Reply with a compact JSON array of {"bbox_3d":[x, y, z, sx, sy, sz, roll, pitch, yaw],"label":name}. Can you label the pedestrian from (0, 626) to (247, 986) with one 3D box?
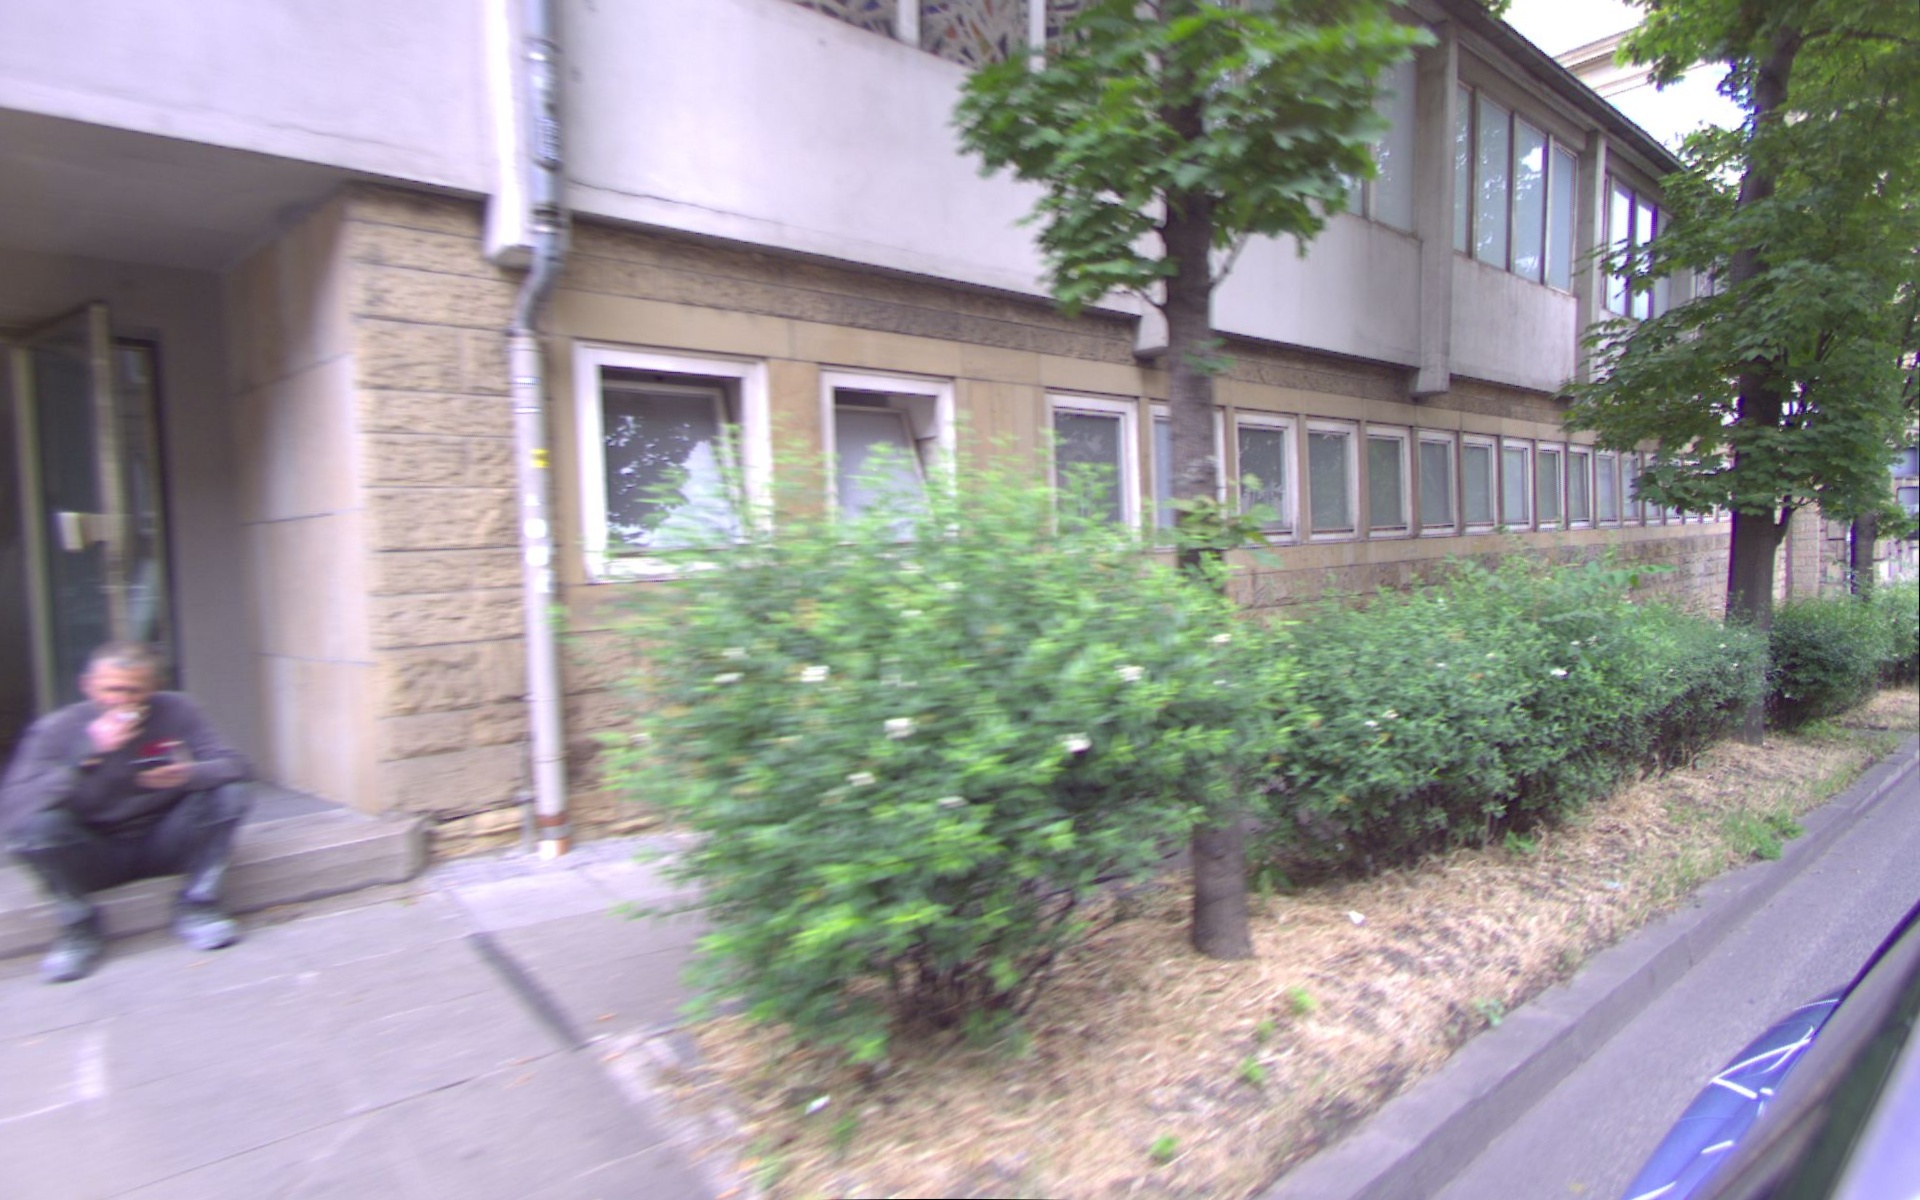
[{"bbox_3d":[-2.636,0.583,3.190,0.597,0.977,0.526,0,0,-40],"label":"pedestrian"}]
